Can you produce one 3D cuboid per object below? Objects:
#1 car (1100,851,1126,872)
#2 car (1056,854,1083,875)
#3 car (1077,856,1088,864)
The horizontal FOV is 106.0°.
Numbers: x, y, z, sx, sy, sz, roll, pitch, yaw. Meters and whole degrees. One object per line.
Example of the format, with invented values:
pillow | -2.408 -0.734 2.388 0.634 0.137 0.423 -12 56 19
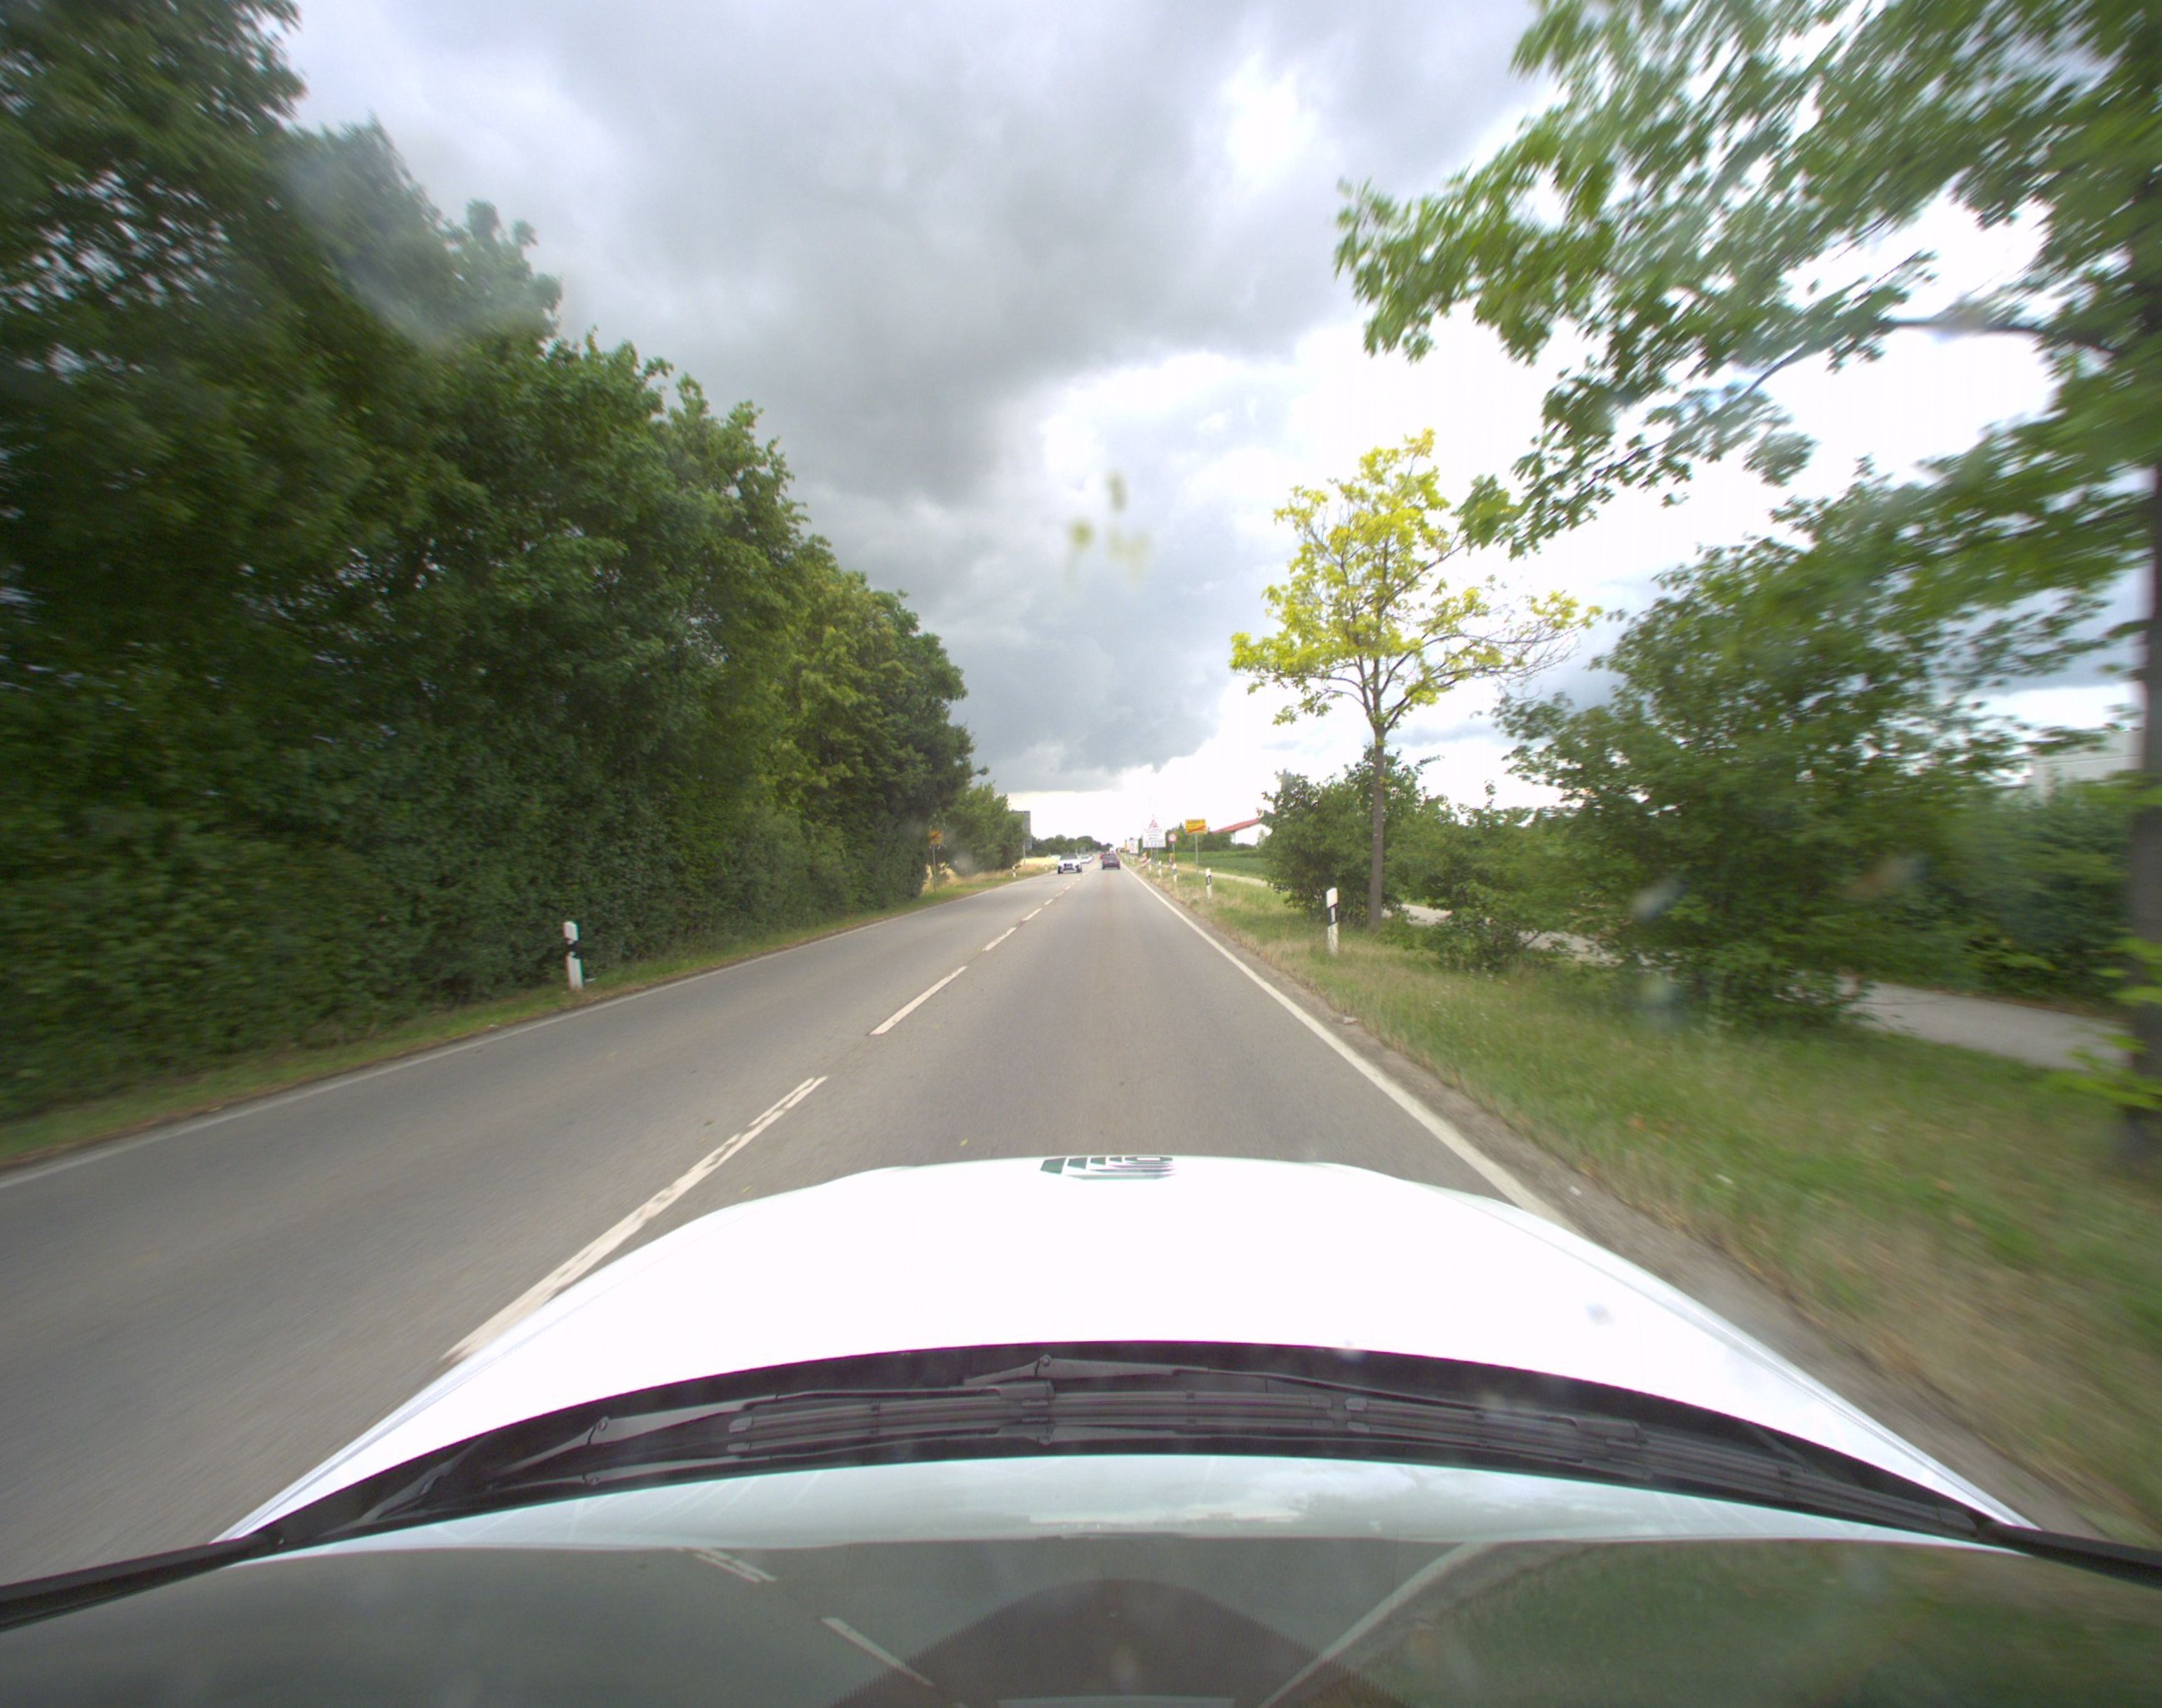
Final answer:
car | 3.252 0.760 82.803 2.364 1.880 4.477 -3 0 0
car | -0.975 0.854 70.855 1.986 1.684 4.812 -2 0 2
car | 0.318 1.049 143.165 1.722 1.363 3.951 -2 0 2
